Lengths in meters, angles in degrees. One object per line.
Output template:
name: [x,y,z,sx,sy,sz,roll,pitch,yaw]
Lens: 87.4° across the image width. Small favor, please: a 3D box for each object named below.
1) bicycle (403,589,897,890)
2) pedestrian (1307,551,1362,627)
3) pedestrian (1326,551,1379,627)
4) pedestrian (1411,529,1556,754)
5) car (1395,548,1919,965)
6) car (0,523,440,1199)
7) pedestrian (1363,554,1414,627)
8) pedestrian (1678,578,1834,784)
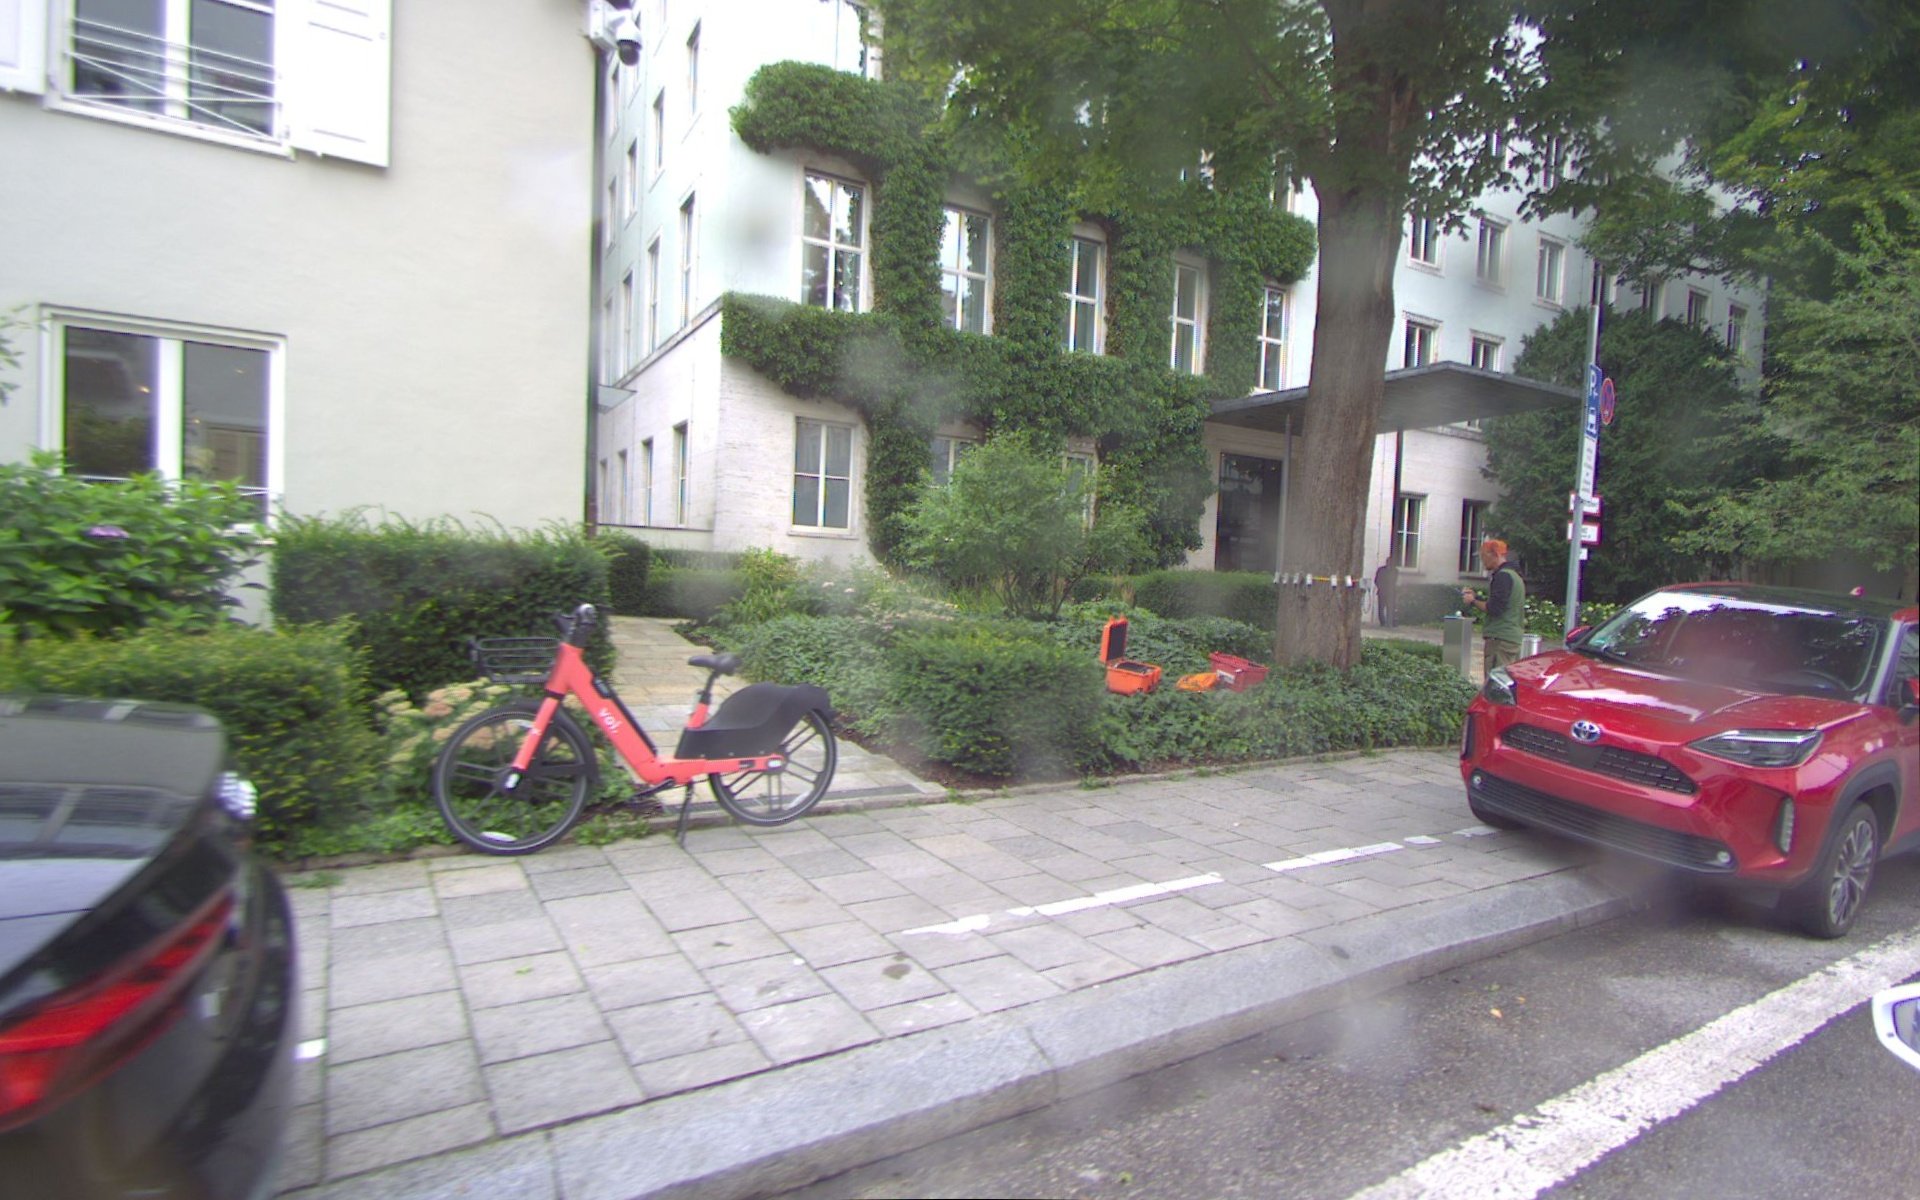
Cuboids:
bicycle: [-1.361,0.564,4.608,2.020,1.145,0.647,2,2,-26]
pedestrian: [9.009,-0.264,24.159,0.744,1.776,0.893,1,2,-33]
pedestrian: [9.648,-0.273,24.684,0.892,1.776,0.745,3,1,-34]
pedestrian: [4.617,0.340,8.883,0.788,1.877,0.708,2,3,-32]
car: [4.837,0.642,5.983,4.479,1.612,1.876,2,3,-33]
car: [-3.240,0.549,0.738,4.875,1.421,1.795,2,3,-35]
pedestrian: [10.828,-0.243,25.389,0.892,1.776,0.745,3,1,-34]
pedestrian: [6.564,0.635,8.292,0.745,1.569,0.708,1,4,-35]
